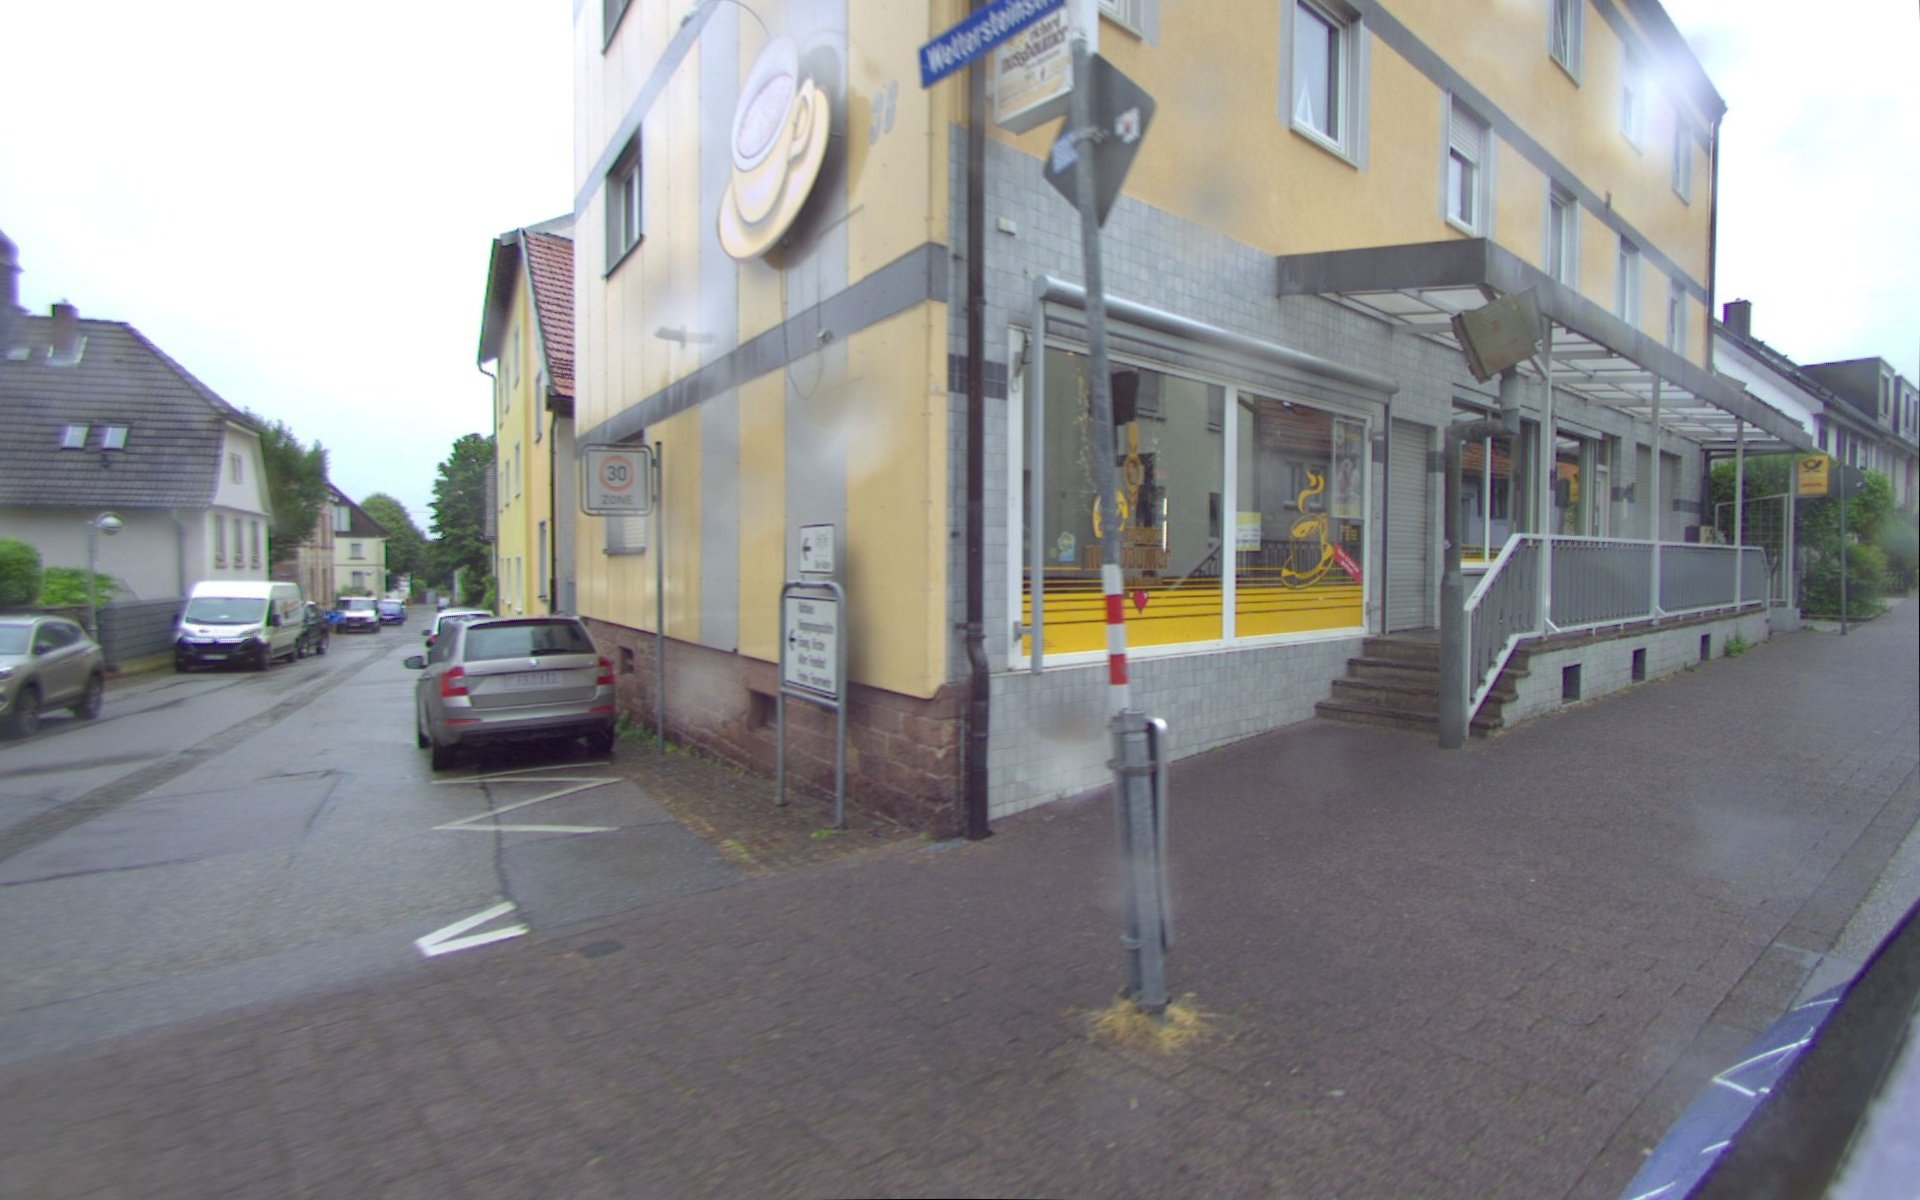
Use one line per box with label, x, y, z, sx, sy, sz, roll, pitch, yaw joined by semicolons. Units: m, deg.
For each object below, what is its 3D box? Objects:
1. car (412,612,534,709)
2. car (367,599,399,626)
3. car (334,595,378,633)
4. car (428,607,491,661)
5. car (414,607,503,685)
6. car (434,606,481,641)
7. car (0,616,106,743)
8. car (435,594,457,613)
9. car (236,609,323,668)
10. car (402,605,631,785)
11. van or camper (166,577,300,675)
car;-9.205;1.037;19.191;1.816;1.478;4.026;-4;1;-26
car;-39.167;0.801;68.728;1.810;1.730;4.044;0;0;-29
car;-34.152;0.769;57.297;1.960;2.039;4.645;0;0;-29
car;-16.257;1.041;32.989;1.631;1.580;3.878;-2;0;-24
car;-11.626;1.001;23.609;1.632;1.535;3.877;-4;1;-25
car;-23.510;1.071;47.440;1.631;1.410;3.880;-2;2;-22
car;-14.223;1.072;14.734;1.791;1.633;4.027;0;0;-26
car;-53.315;0.363;104.960;1.885;1.737;4.006;-1;3;-29
car;-23.234;1.265;34.690;1.879;1.854;3.843;0;0;-25
car;-4.997;0.895;11.056;1.741;1.479;4.199;-3;0;-31
van or camper;-20.734;0.652;29.138;2.044;2.510;5.906;0;0;-25
